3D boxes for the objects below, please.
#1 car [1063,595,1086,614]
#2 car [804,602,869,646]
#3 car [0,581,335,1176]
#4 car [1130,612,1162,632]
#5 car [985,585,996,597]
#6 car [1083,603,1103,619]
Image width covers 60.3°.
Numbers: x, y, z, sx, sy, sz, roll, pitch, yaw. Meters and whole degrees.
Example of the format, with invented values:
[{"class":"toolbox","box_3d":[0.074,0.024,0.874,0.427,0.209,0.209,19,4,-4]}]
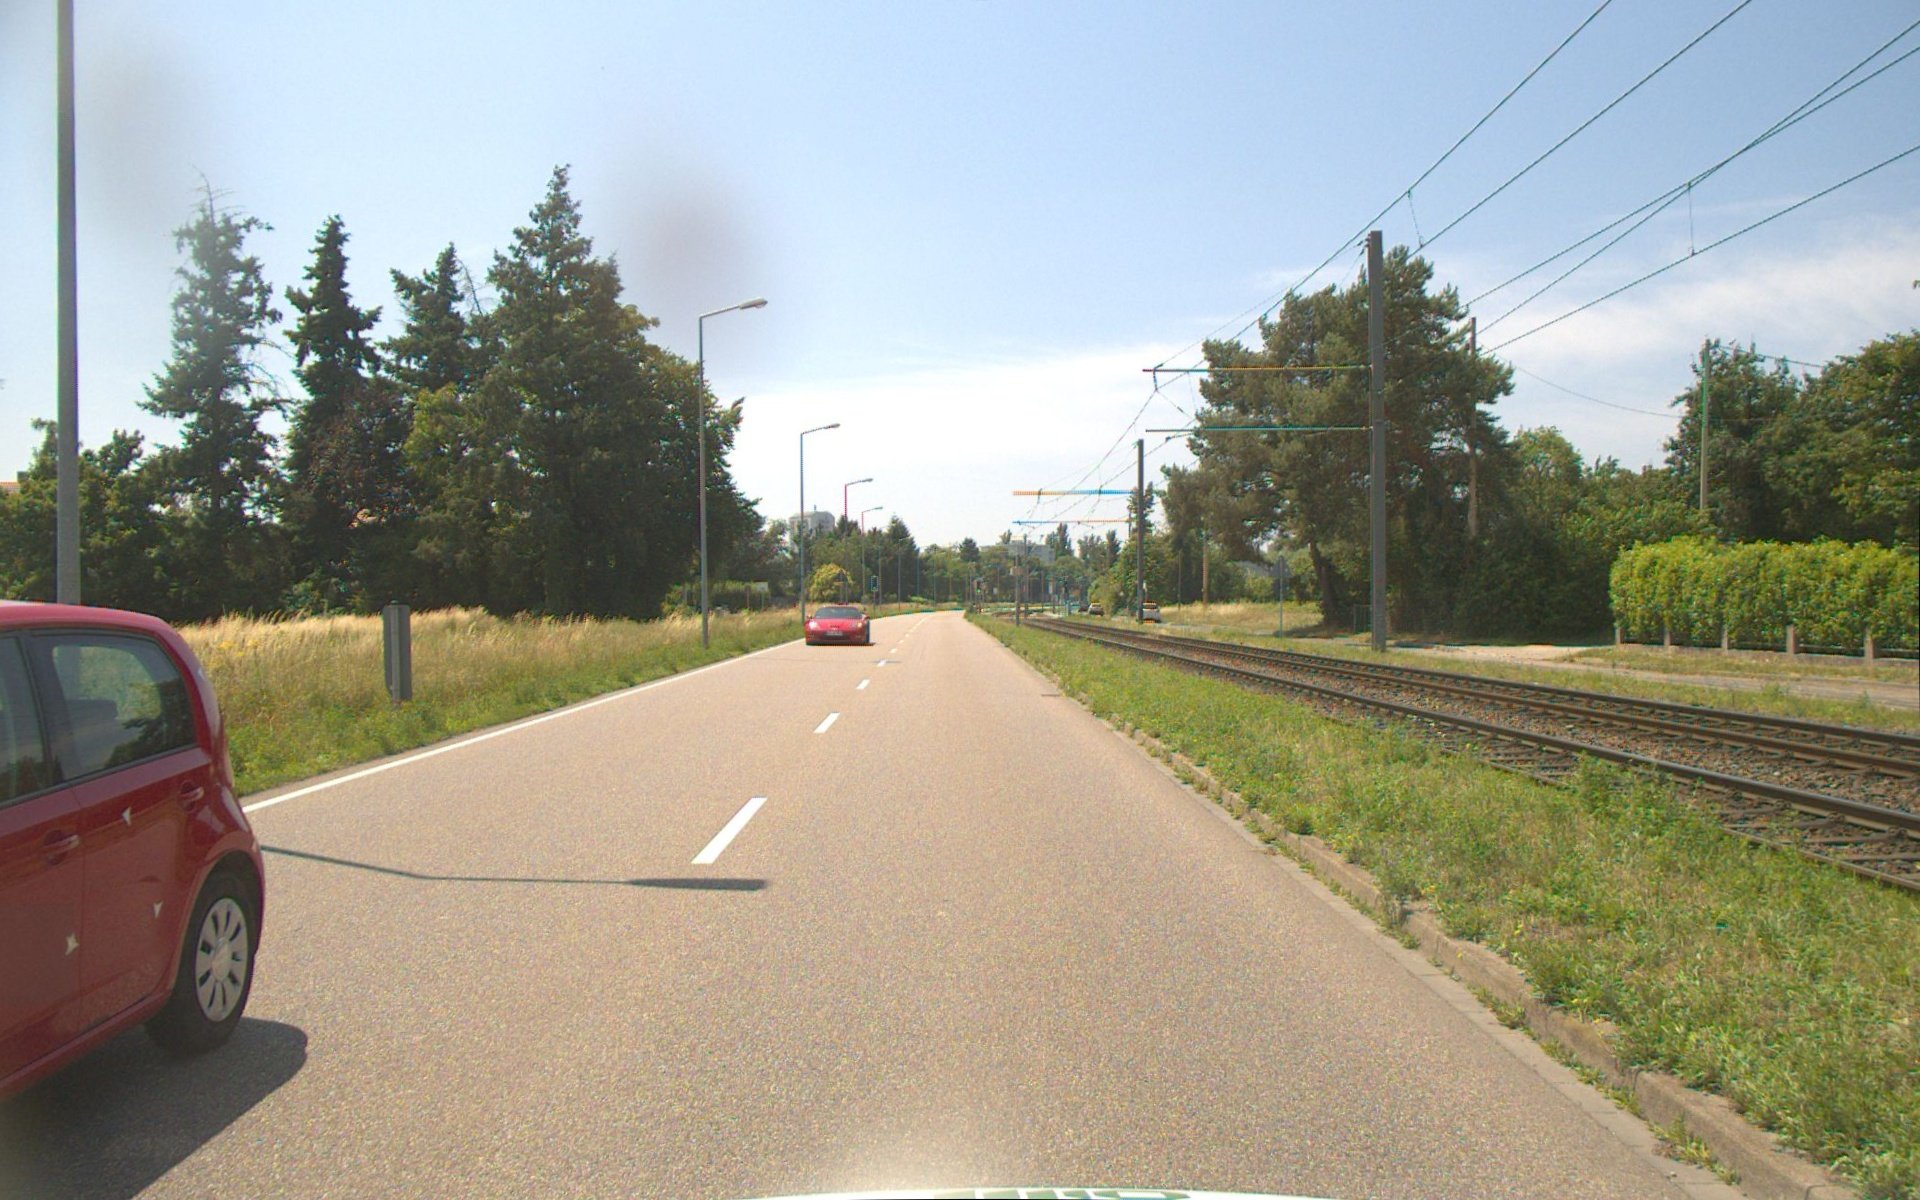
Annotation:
[{"class":"car","box_3d":[10.248,0.394,148.229,1.709,1.587,3.999,-1,-1,-1]},{"class":"car","box_3d":[-3.865,0.775,52.389,1.770,1.308,4.285,-1,-1,-1]},{"class":"car","box_3d":[-3.116,0.683,4.233,1.612,1.424,3.843,-1,-1,-1]},{"class":"car","box_3d":[14.649,1.714,130.489,1.953,1.534,3.999,-1,-1,-1]},{"class":"car","box_3d":[4.468,-1.301,240.457,1.520,1.613,3.568,-1,-1,-1]},{"class":"car","box_3d":[14.953,1.237,186.241,1.876,1.691,3.999,-1,-1,-1]}]
